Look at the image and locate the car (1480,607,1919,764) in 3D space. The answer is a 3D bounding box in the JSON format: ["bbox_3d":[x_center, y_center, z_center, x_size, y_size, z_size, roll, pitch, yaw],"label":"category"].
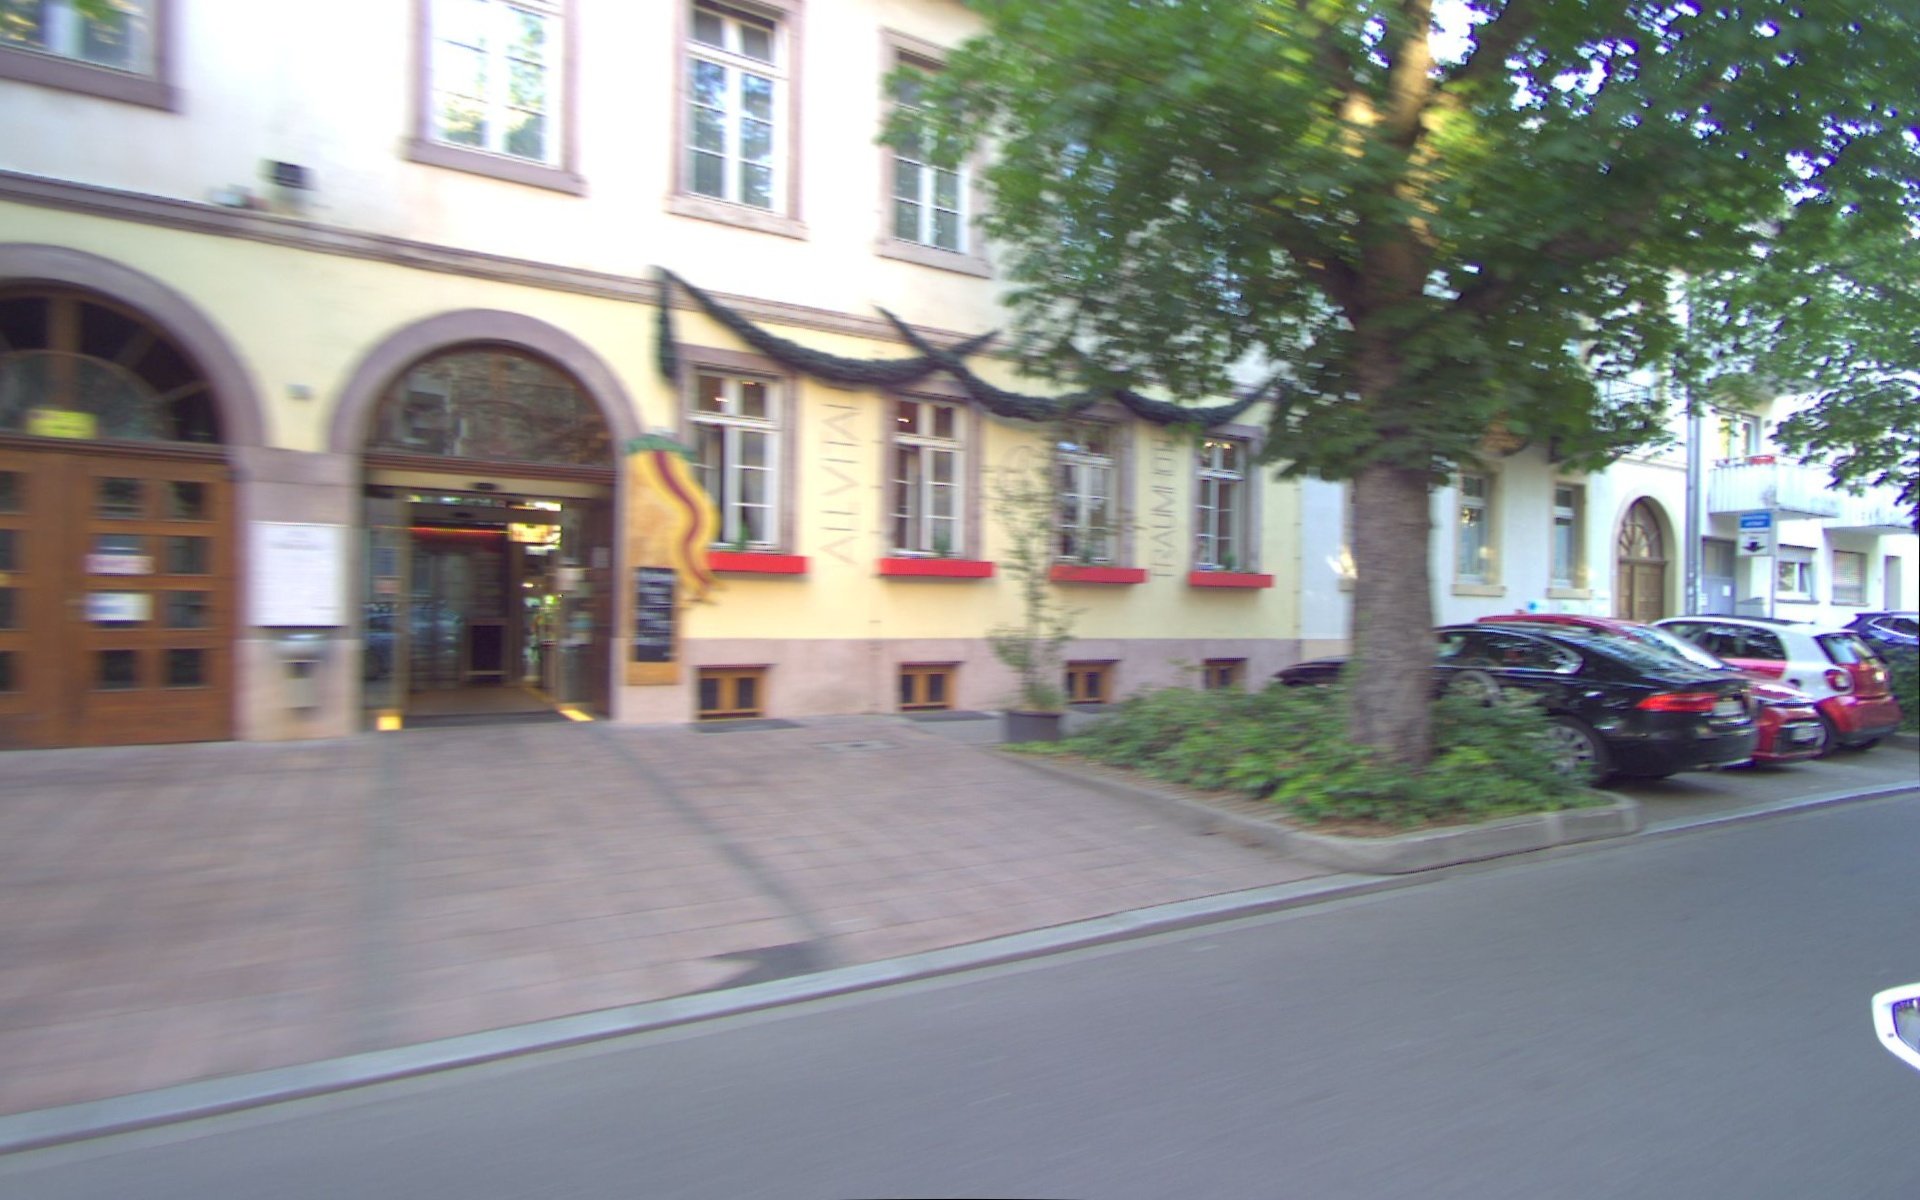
[{"bbox_3d":[9.461,0.975,13.268,1.751,1.559,4.334,2,1,-29],"label":"car"}]

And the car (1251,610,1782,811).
[{"bbox_3d":[5.266,0.915,10.159,1.700,1.425,4.398,2,0,-33],"label":"car"}]

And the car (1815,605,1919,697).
[{"bbox_3d":[18.362,0.992,17.897,1.907,1.594,4.334,1,2,-29],"label":"car"}]

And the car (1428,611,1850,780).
[{"bbox_3d":[7.570,0.938,11.575,1.639,1.469,3.667,1,1,-29],"label":"car"}]
